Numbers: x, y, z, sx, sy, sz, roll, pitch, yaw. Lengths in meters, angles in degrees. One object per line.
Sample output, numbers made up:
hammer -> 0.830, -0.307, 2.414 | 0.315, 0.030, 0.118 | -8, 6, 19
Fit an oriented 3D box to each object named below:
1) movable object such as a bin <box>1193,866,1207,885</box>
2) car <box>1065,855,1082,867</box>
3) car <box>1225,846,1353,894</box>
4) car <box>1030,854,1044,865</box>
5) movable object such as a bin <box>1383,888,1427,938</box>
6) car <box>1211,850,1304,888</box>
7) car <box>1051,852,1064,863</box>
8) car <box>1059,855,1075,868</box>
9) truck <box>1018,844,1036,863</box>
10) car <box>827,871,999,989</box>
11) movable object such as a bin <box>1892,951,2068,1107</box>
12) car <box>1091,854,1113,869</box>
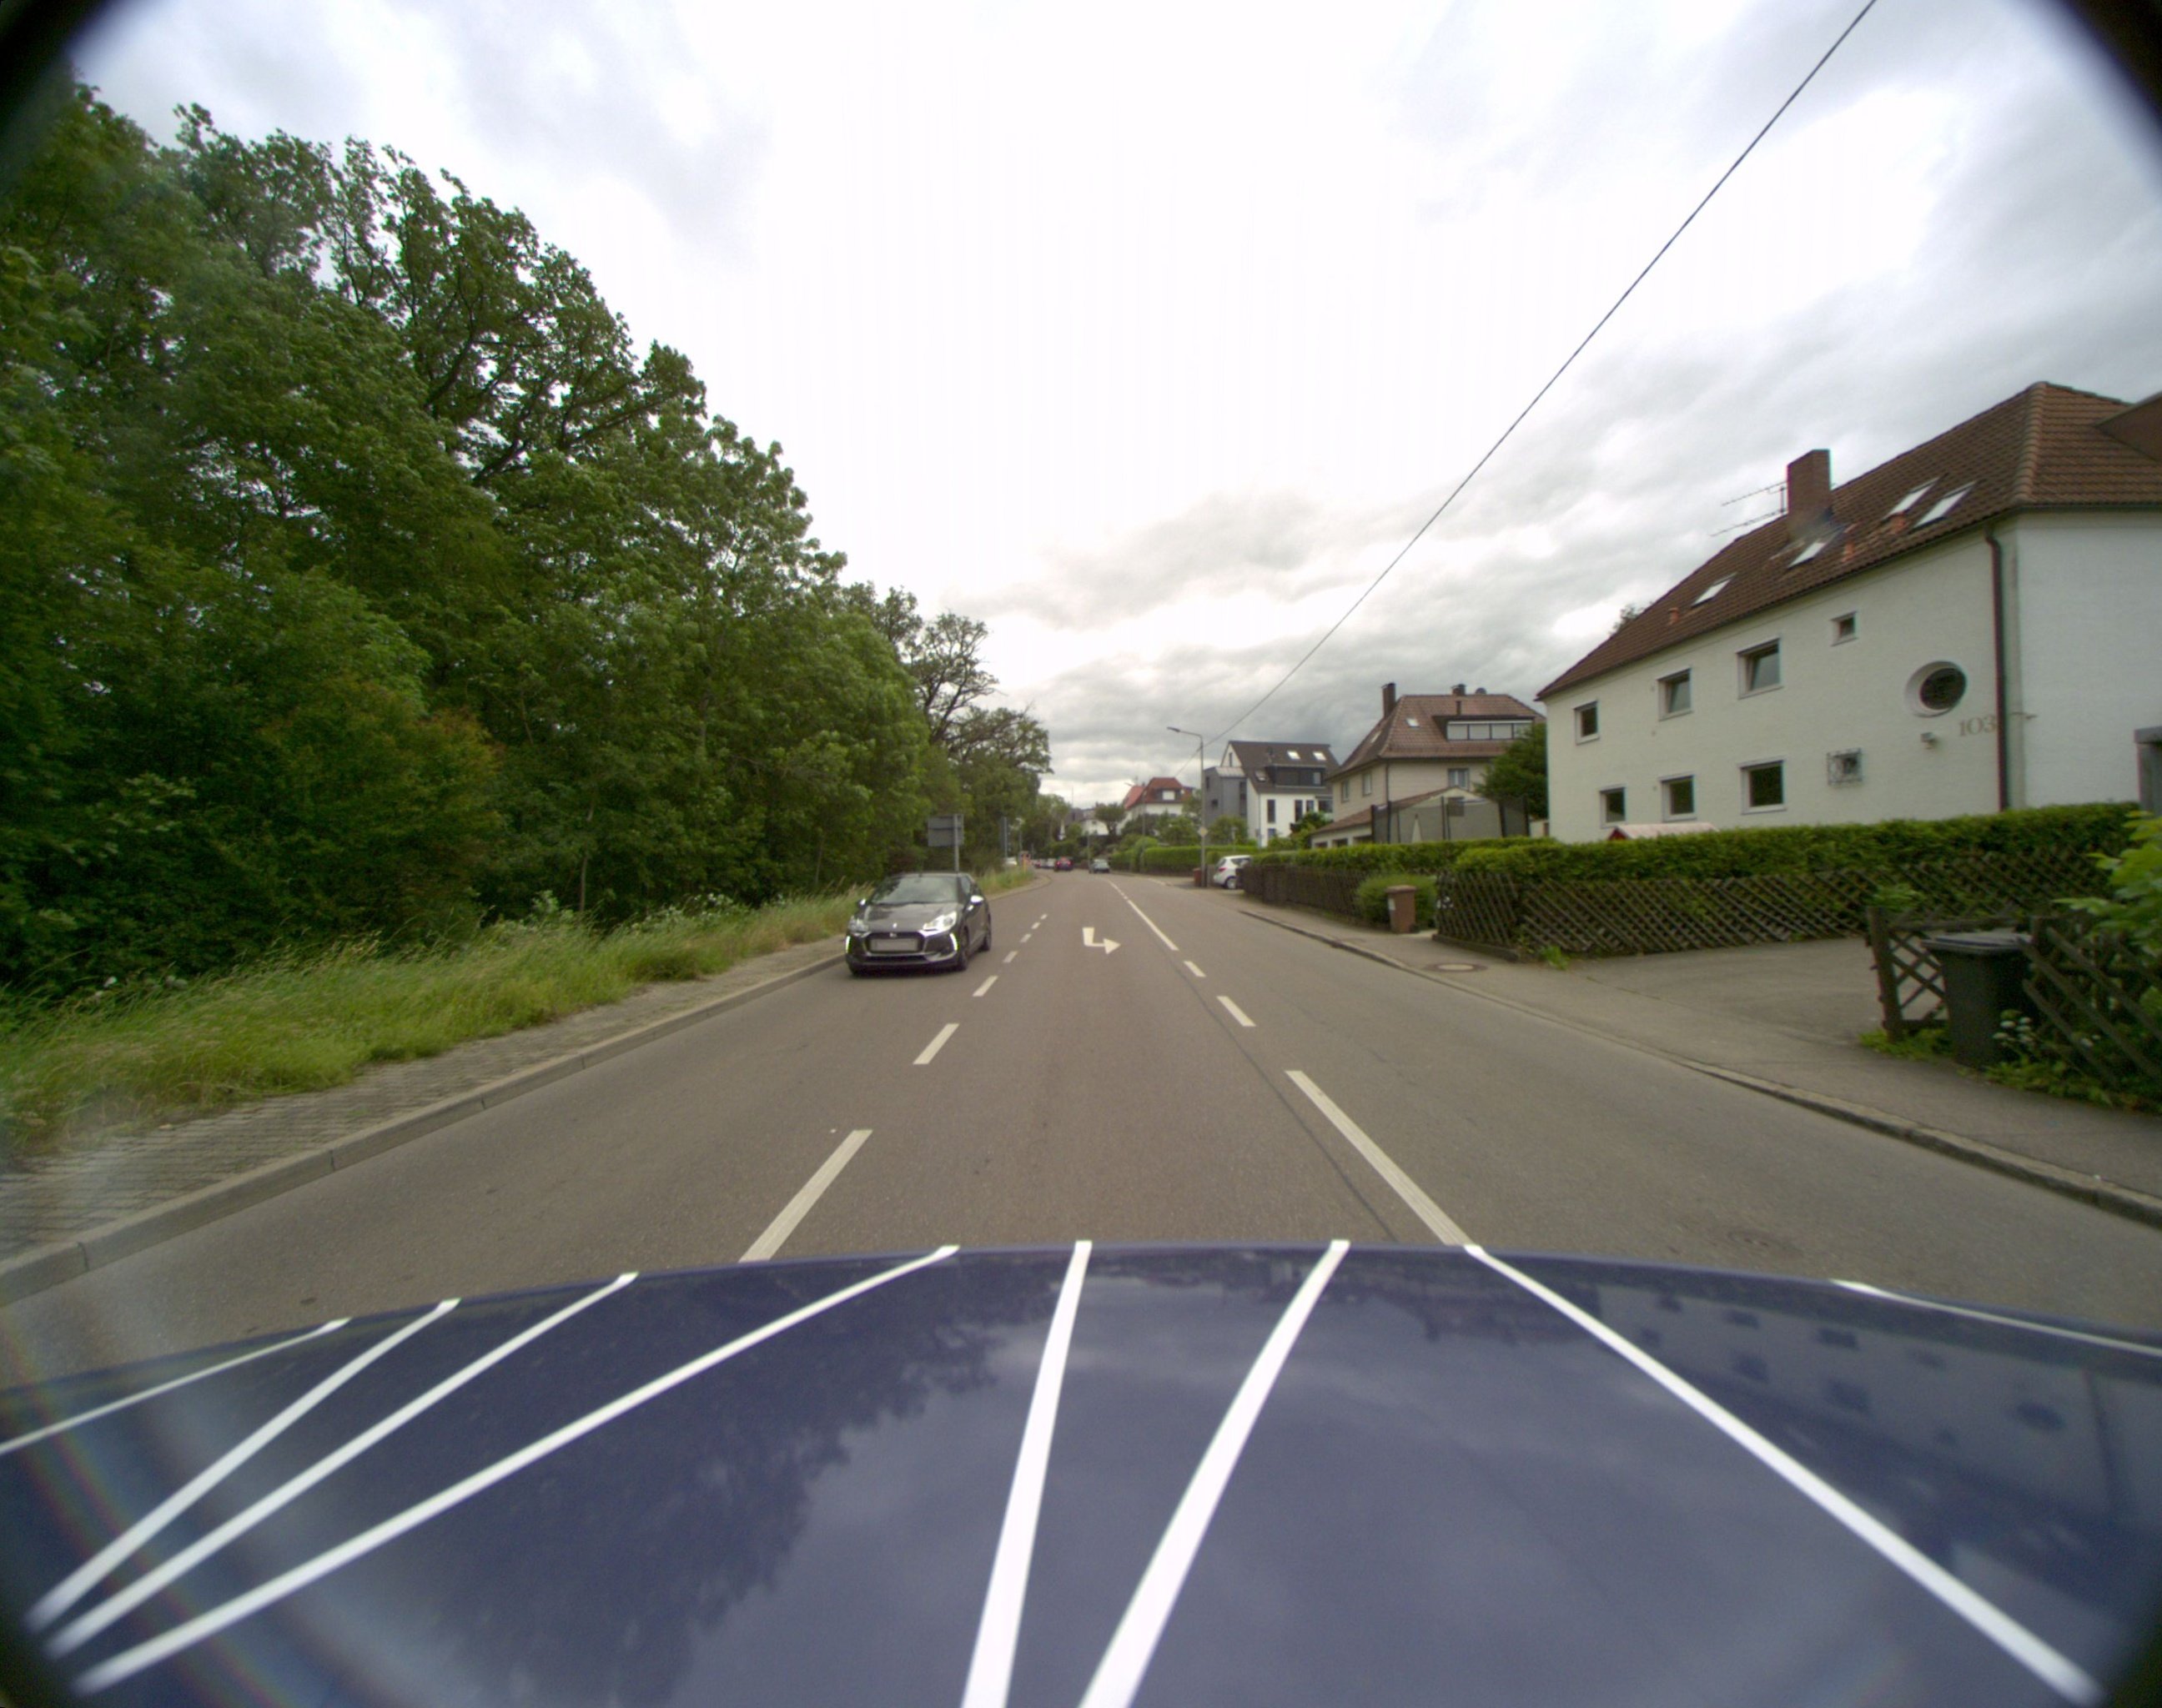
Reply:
movable object such as a bin -> 6.252, 1.124, 39.776 | 0.689, 0.948, 0.572 | -1, 0, 10
car -> -1.027, 0.918, 106.166 | 1.876, 1.569, 3.997 | -1, 0, -8
car -> 8.485, 0.647, 31.276 | 4.682, 1.660, 1.882 | -3, 0, -1
car -> -7.158, 0.847, 122.218 | 2.000, 1.749, 3.997 | -1, 0, -7
movable object such as a bin -> 6.227, 1.132, 14.616 | 0.634, 0.907, 0.561 | -2, 0, 11
car -> 8.467, 0.700, 36.637 | 3.997, 1.584, 1.718 | -3, 0, 1
car -> -3.707, 0.535, 119.551 | 1.833, 1.665, 3.997 | -1, 1, -6
car -> -1.857, 0.880, 96.881 | 1.818, 1.590, 3.954 | -1, 0, -4
truck -> -10.993, -0.112, 153.768 | 3.008, 3.618, 7.083 | -1, 0, -8
car -> -2.484, 1.072, 12.211 | 1.730, 1.449, 3.855 | -2, 0, 2
movable object such as a bin -> 6.061, 1.161, 5.152 | 0.551, 0.933, 0.538 | -1, 0, 2
car -> 2.239, 0.781, 82.063 | 1.840, 1.514, 3.998 | -1, 0, -5
